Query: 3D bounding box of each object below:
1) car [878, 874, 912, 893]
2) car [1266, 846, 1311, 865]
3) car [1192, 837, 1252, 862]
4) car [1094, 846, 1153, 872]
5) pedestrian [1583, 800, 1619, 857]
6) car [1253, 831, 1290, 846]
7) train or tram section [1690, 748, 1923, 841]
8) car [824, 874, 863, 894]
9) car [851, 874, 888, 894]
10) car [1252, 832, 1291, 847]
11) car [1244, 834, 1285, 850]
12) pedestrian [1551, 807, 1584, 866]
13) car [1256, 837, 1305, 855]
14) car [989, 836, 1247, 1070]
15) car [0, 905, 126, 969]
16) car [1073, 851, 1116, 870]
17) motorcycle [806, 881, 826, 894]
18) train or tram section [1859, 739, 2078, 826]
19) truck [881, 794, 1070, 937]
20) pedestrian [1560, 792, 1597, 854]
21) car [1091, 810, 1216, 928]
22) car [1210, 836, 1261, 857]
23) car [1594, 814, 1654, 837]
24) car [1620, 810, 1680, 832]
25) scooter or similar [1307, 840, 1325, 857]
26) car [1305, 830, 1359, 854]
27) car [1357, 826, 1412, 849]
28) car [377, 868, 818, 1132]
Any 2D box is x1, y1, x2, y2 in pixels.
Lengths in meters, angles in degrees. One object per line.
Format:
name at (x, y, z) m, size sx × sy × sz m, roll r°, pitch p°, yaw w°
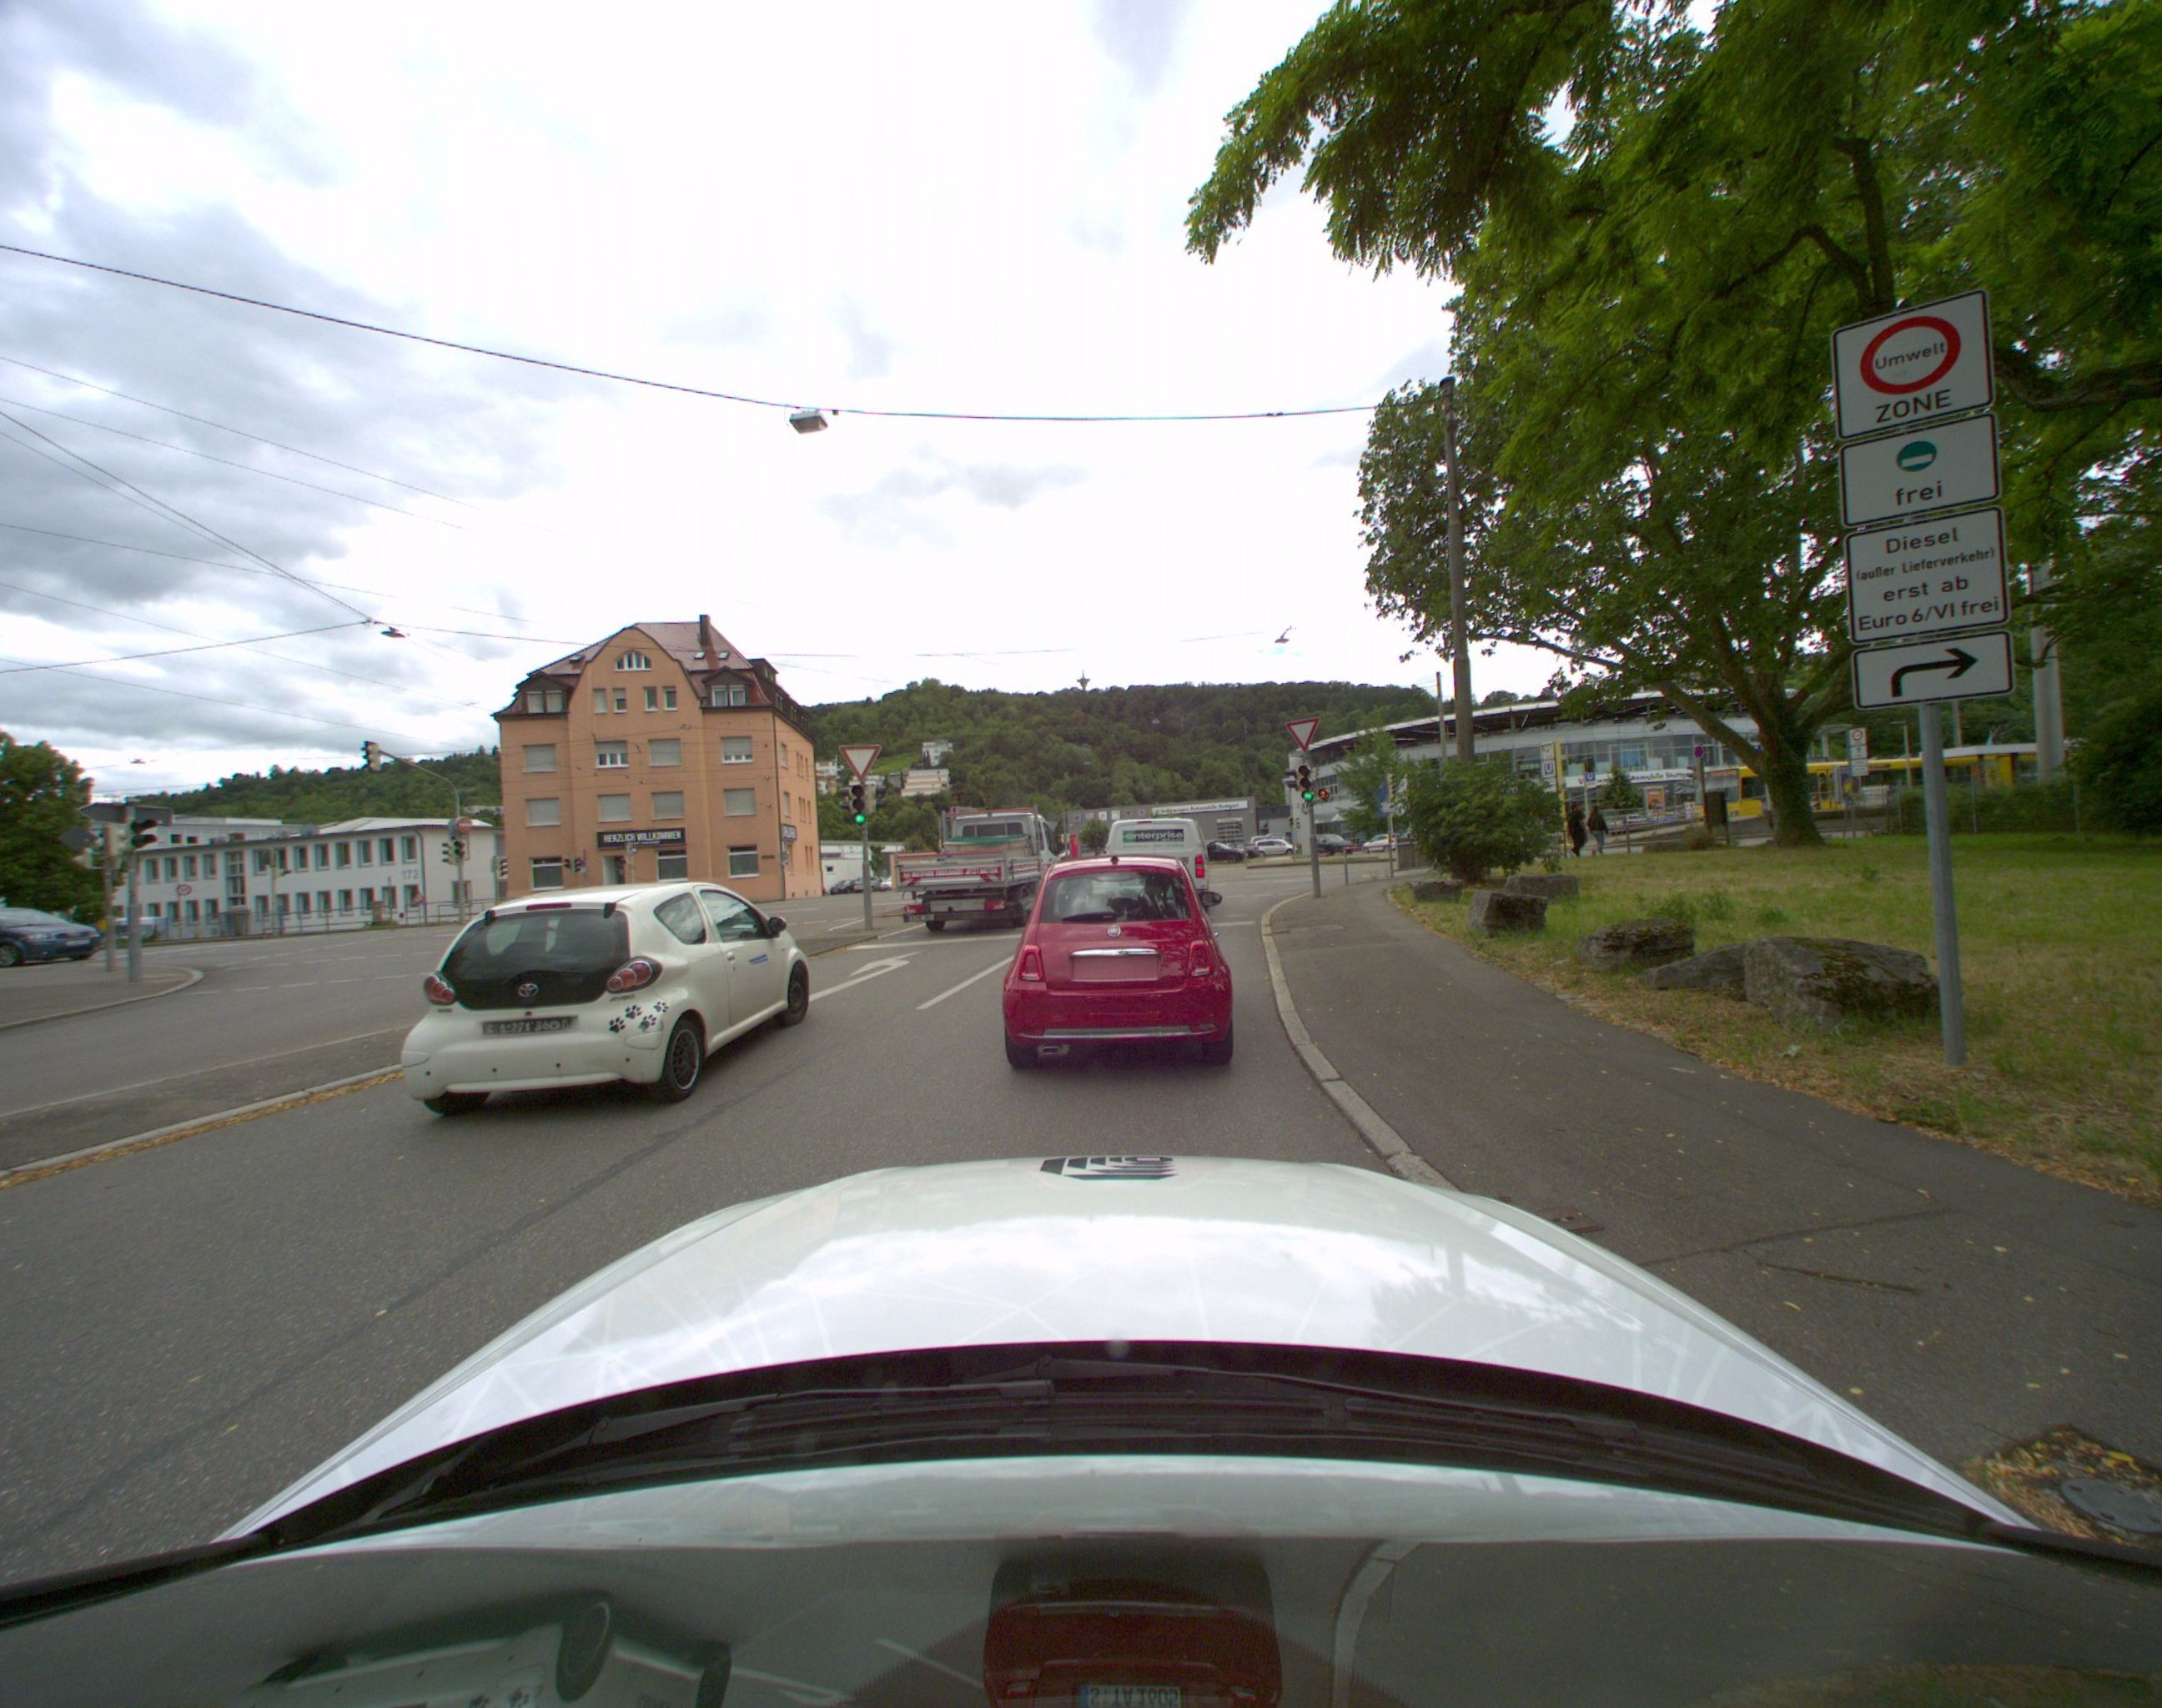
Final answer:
car at (-18.306, 2.902, 80.286) m, size 1.984 × 1.839 × 4.517 m, roll 0°, pitch -1°, yaw 5°
car at (21.973, 0.207, 86.350) m, size 4.469 × 1.997 × 2.005 m, roll 0°, pitch -1°, yaw 9°
car at (10.385, -0.340, 59.839) m, size 3.951 × 1.639 × 2.012 m, roll -1°, pitch 3°, yaw 23°
car at (3.963, 0.470, 75.736) m, size 4.965 × 2.014 × 2.008 m, roll -5°, pitch -2°, yaw 14°
pedestrian at (15.726, -0.747, 24.614) m, size 0.670 × 1.689 × 0.602 m, roll 0°, pitch -1°, yaw -12°
car at (23.997, -1.968, 102.810) m, size 4.469 × 1.729 × 2.005 m, roll 0°, pitch -1°, yaw 9°
train or tram section at (38.125, -3.127, 42.791) m, size 11.889 × 3.966 × 2.737 m, roll -4°, pitch 0°, yaw -14°
car at (-23.298, 2.917, 80.156) m, size 1.983 × 1.839 × 4.519 m, roll 0°, pitch -1°, yaw 7°
car at (-20.810, 2.911, 80.264) m, size 1.983 × 1.839 × 4.518 m, roll 0°, pitch -1°, yaw 6°
car at (22.824, -1.686, 97.742) m, size 4.469 × 1.729 × 2.005 m, roll 0°, pitch -1°, yaw 9°
car at (21.059, -1.386, 93.618) m, size 4.469 × 1.729 × 2.005 m, roll 0°, pitch -1°, yaw 9°
pedestrian at (15.681, -0.556, 26.243) m, size 0.670 × 1.867 × 0.602 m, roll 0°, pitch -1°, yaw -12°
car at (19.200, -0.760, 78.511) m, size 4.469 × 1.729 × 2.005 m, roll 0°, pitch -1°, yaw 9°
car at (0.363, 0.635, 7.342) m, size 1.690 × 1.525 × 4.004 m, roll 0°, pitch 0°, yaw 4°
car at (-27.301, 2.164, 20.743) m, size 3.682 × 1.392 × 1.748 m, roll -4°, pitch 0°, yaw -2°
car at (1.512, 0.743, 89.459) m, size 4.469 × 1.997 × 2.005 m, roll 0°, pitch -1°, yaw 9°
motorcycle at (-20.454, 2.574, 62.807) m, size 1.687 × 0.984 × 0.532 m, roll -1°, pitch -1°, yaw 35°
train or tram section at (49.698, -3.989, 45.586) m, size 11.889 × 3.966 × 2.737 m, roll -4°, pitch 0°, yaw -14°
truck at (-1.933, 0.073, 17.337) m, size 2.300 × 2.421 × 5.670 m, roll -4°, pitch 2°, yaw 9°
pedestrian at (15.523, -0.965, 25.424) m, size 0.670 × 1.867 × 0.602 m, roll -3°, pitch -1°, yaw -12°
car at (1.656, 0.197, 16.675) m, size 1.985 × 2.040 × 4.848 m, roll 0°, pitch 2°, yaw 12°
car at (12.879, -0.615, 68.115) m, size 3.973 × 1.706 × 2.000 m, roll 0°, pitch -1°, yaw 0°
car at (44.962, -2.337, 67.568) m, size 1.921 × 1.554 × 3.988 m, roll -4°, pitch 0°, yaw -9°
car at (47.697, -2.736, 68.357) m, size 1.920 × 1.554 × 3.988 m, roll 0°, pitch -1°, yaw -9°
scooter or similar at (17.131, -0.397, 59.315) m, size 1.194 × 1.288 × 0.576 m, roll 0°, pitch -1°, yaw 5°
car at (19.097, -0.912, 62.122) m, size 1.999 × 1.640 × 3.976 m, roll -3°, pitch 0°, yaw -17°
car at (23.507, -1.238, 63.201) m, size 1.998 × 1.640 × 3.976 m, roll 0°, pitch -1°, yaw -17°
car at (-3.445, 0.899, 6.592) m, size 1.590 × 1.420 × 3.370 m, roll -4°, pitch 0°, yaw -3°
